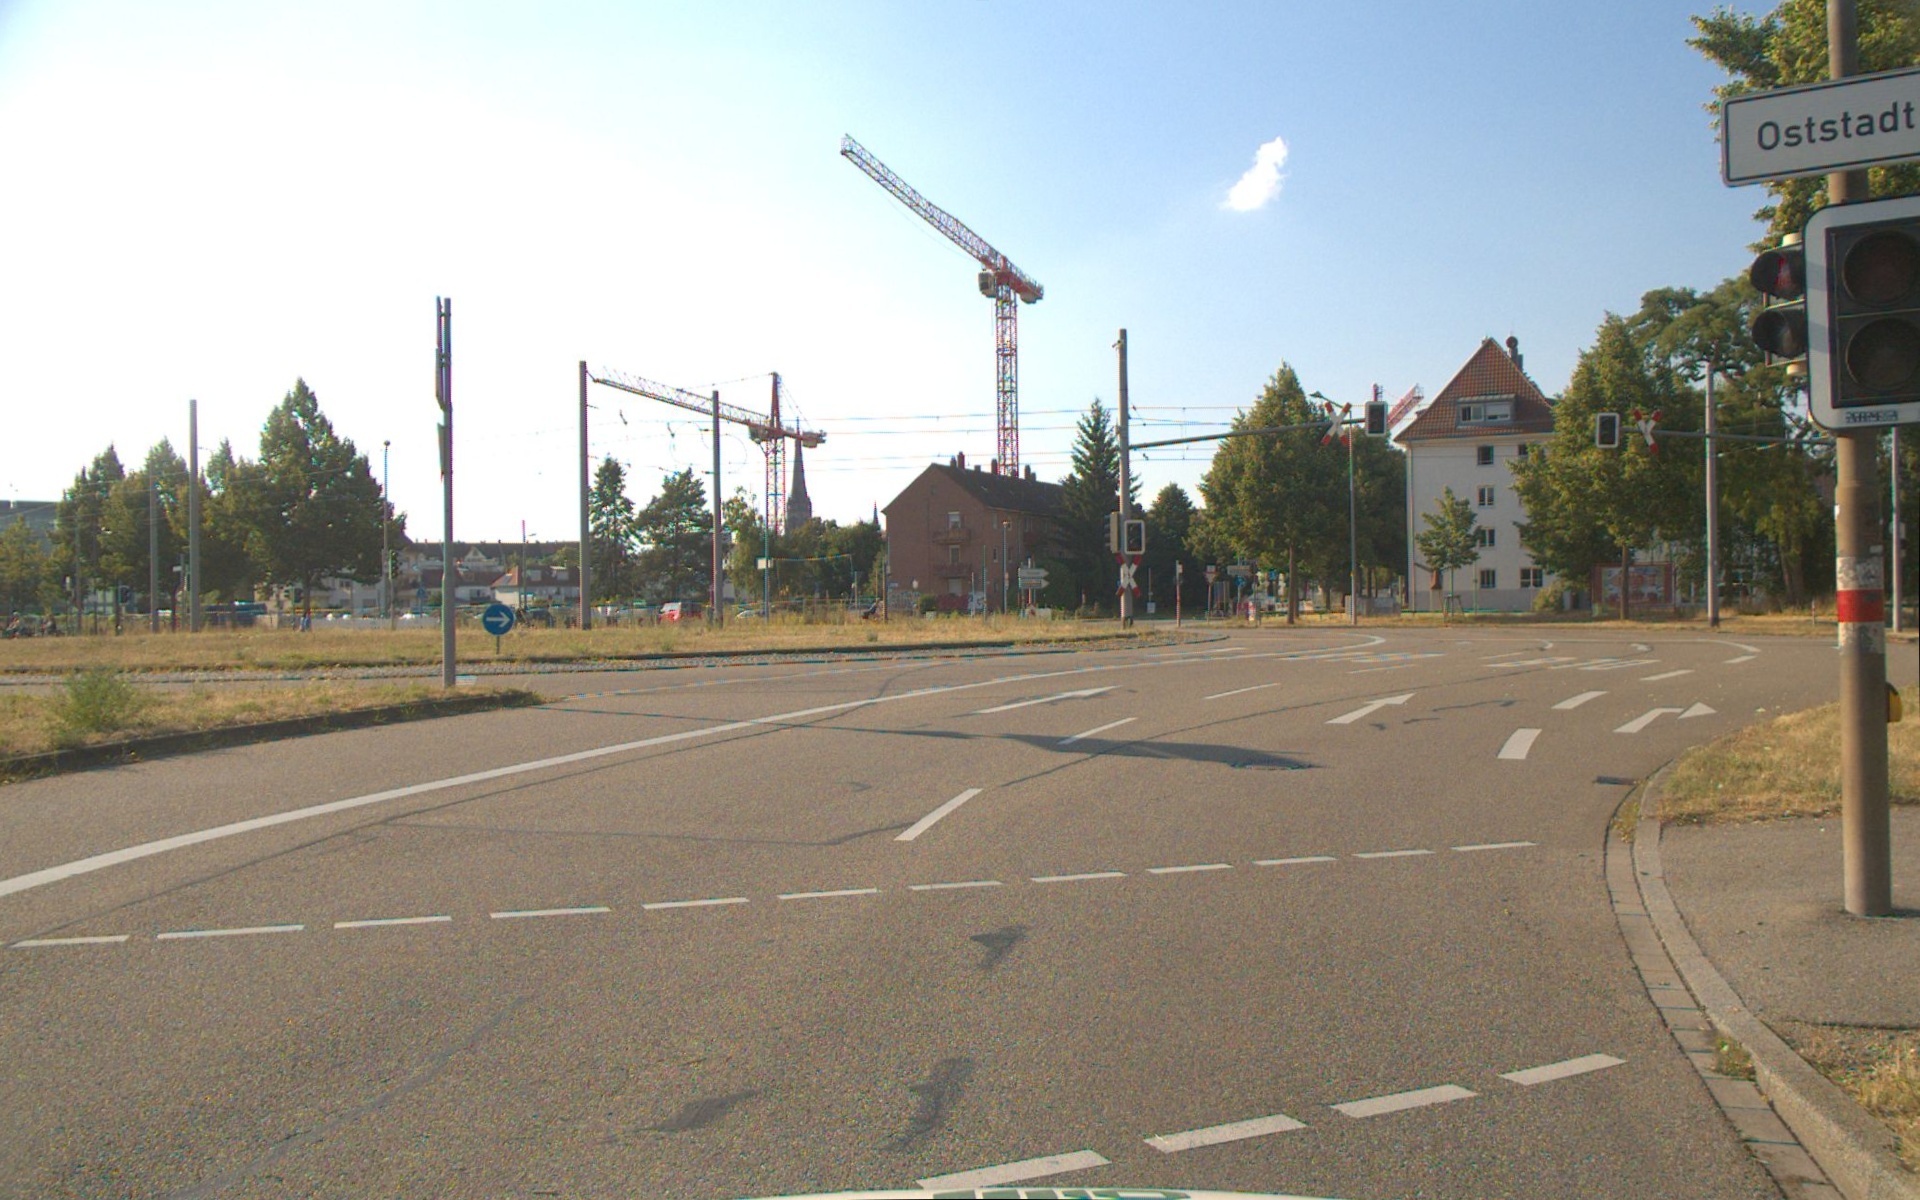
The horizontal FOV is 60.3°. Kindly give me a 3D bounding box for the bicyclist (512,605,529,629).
[{"bbox_3d":[-25.888,0.998,97.420,0.880,1.421,0.525,-1,0,-6],"label":"bicyclist"}]

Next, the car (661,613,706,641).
[{"bbox_3d":[-19.428,1.902,116.127,1.898,1.886,3.962,-1,0,-28],"label":"car"}]

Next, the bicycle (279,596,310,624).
[{"bbox_3d":[-36.794,0.549,91.453,1.521,1.499,0.475,-1,0,-28],"label":"bicycle"}]

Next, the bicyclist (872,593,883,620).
[{"bbox_3d":[-4.779,0.375,95.783,0.610,1.537,0.418,-1,0,-6],"label":"bicyclist"}]

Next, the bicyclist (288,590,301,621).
[{"bbox_3d":[-36.811,0.307,91.446,0.600,1.701,0.473,0,-1,-28],"label":"bicyclist"}]

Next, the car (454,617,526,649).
[{"bbox_3d":[-29.456,2.033,103.735,3.950,1.847,1.977,-1,0,-33],"label":"car"}]

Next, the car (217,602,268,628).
[{"bbox_3d":[-58.631,1.259,135.147,3.917,2.049,1.994,-1,0,34],"label":"car"}]

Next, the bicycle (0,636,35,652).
[{"bbox_3d":[-46.498,2.166,81.322,0.472,0.757,1.711,-1,0,42],"label":"bicycle"}]

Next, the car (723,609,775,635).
[{"bbox_3d":[-16.869,1.749,132.386,3.728,2.049,1.673,-1,-1,18],"label":"car"}]

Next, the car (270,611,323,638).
[{"bbox_3d":[-52.186,1.927,130.074,3.917,2.049,1.994,-1,0,34],"label":"car"}]

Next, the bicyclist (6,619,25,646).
[{"bbox_3d":[-46.469,1.598,81.376,0.510,1.349,0.650,-1,0,43],"label":"bicyclist"}]

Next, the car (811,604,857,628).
[{"bbox_3d":[-11.384,1.450,149.249,3.728,2.049,1.673,-1,-1,18],"label":"car"}]

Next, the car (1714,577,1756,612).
[{"bbox_3d":[38.716,-0.263,82.580,1.737,1.646,3.963,-1,-1,27],"label":"car"}]

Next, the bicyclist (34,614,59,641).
[{"bbox_3d":[-46.600,1.401,84.364,0.680,1.381,0.952,-1,0,39],"label":"bicyclist"}]

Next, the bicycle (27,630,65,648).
[{"bbox_3d":[-46.583,2.001,84.313,0.535,0.875,1.612,-1,0,39],"label":"bicycle"}]

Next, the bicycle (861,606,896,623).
[{"bbox_3d":[-4.726,0.839,95.790,1.949,0.934,0.429,-1,0,-6],"label":"bicycle"}]

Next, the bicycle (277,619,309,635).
[{"bbox_3d":[-36.547,1.473,90.668,1.595,0.875,0.540,-1,0,-27],"label":"bicycle"}]
